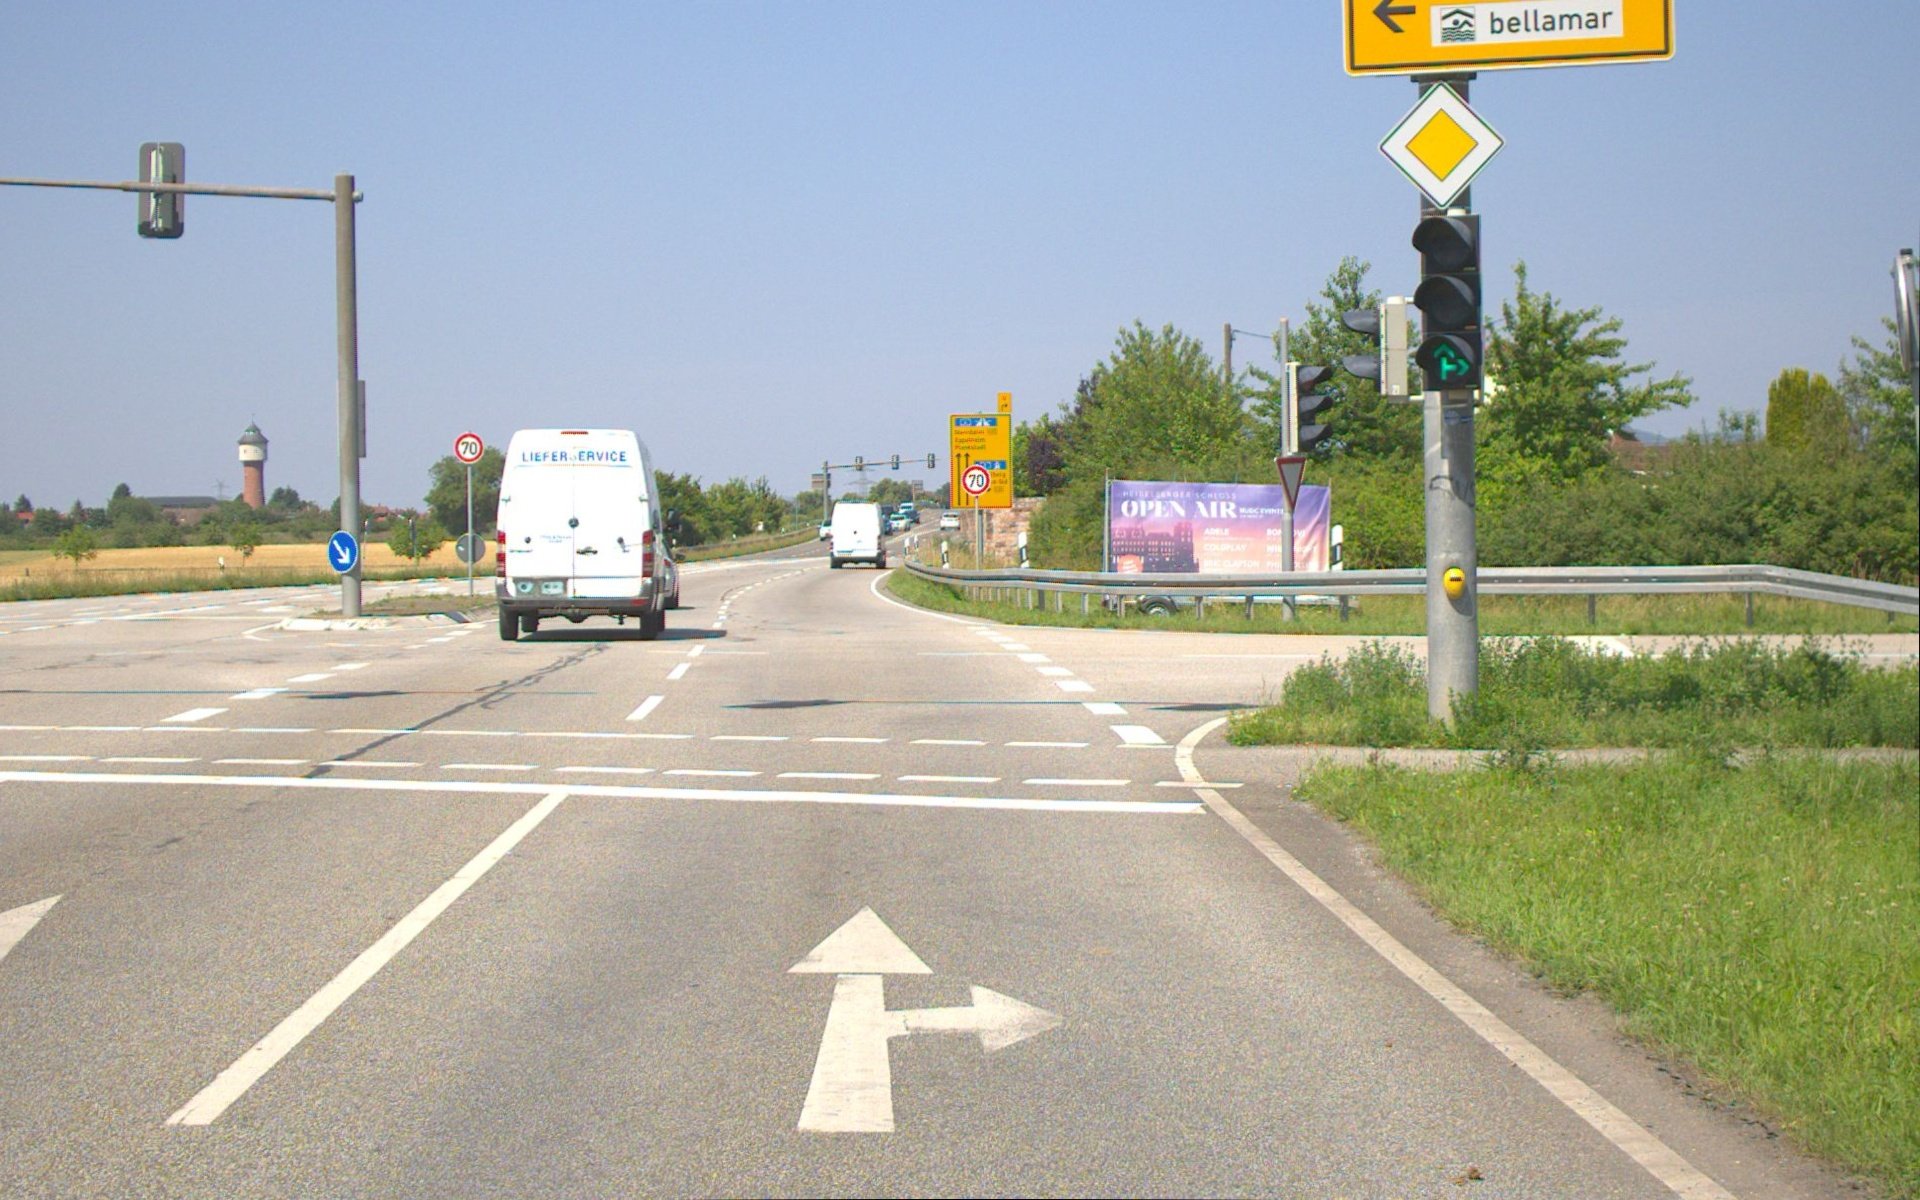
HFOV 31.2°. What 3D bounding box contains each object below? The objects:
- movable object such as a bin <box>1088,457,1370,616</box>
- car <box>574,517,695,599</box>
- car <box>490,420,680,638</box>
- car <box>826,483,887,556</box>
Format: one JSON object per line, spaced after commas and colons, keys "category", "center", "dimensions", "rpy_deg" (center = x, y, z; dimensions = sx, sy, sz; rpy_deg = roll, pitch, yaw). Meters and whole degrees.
{"category": "movable object such as a bin", "center": [4.092, -0.964, 52.472], "dimensions": [4.093, 2.323, 1.278], "rpy_deg": [1, 1, -5]}
{"category": "car", "center": [-6.250, -0.842, 66.485], "dimensions": [1.799, 1.503, 4.196], "rpy_deg": [0, 2, 2]}
{"category": "car", "center": [-4.793, -0.925, 44.668], "dimensions": [2.039, 2.611, 5.742], "rpy_deg": [-1, 1, -3]}
{"category": "car", "center": [-3.960, -3.089, 132.496], "dimensions": [1.993, 2.686, 4.969], "rpy_deg": [1, 0, 2]}
